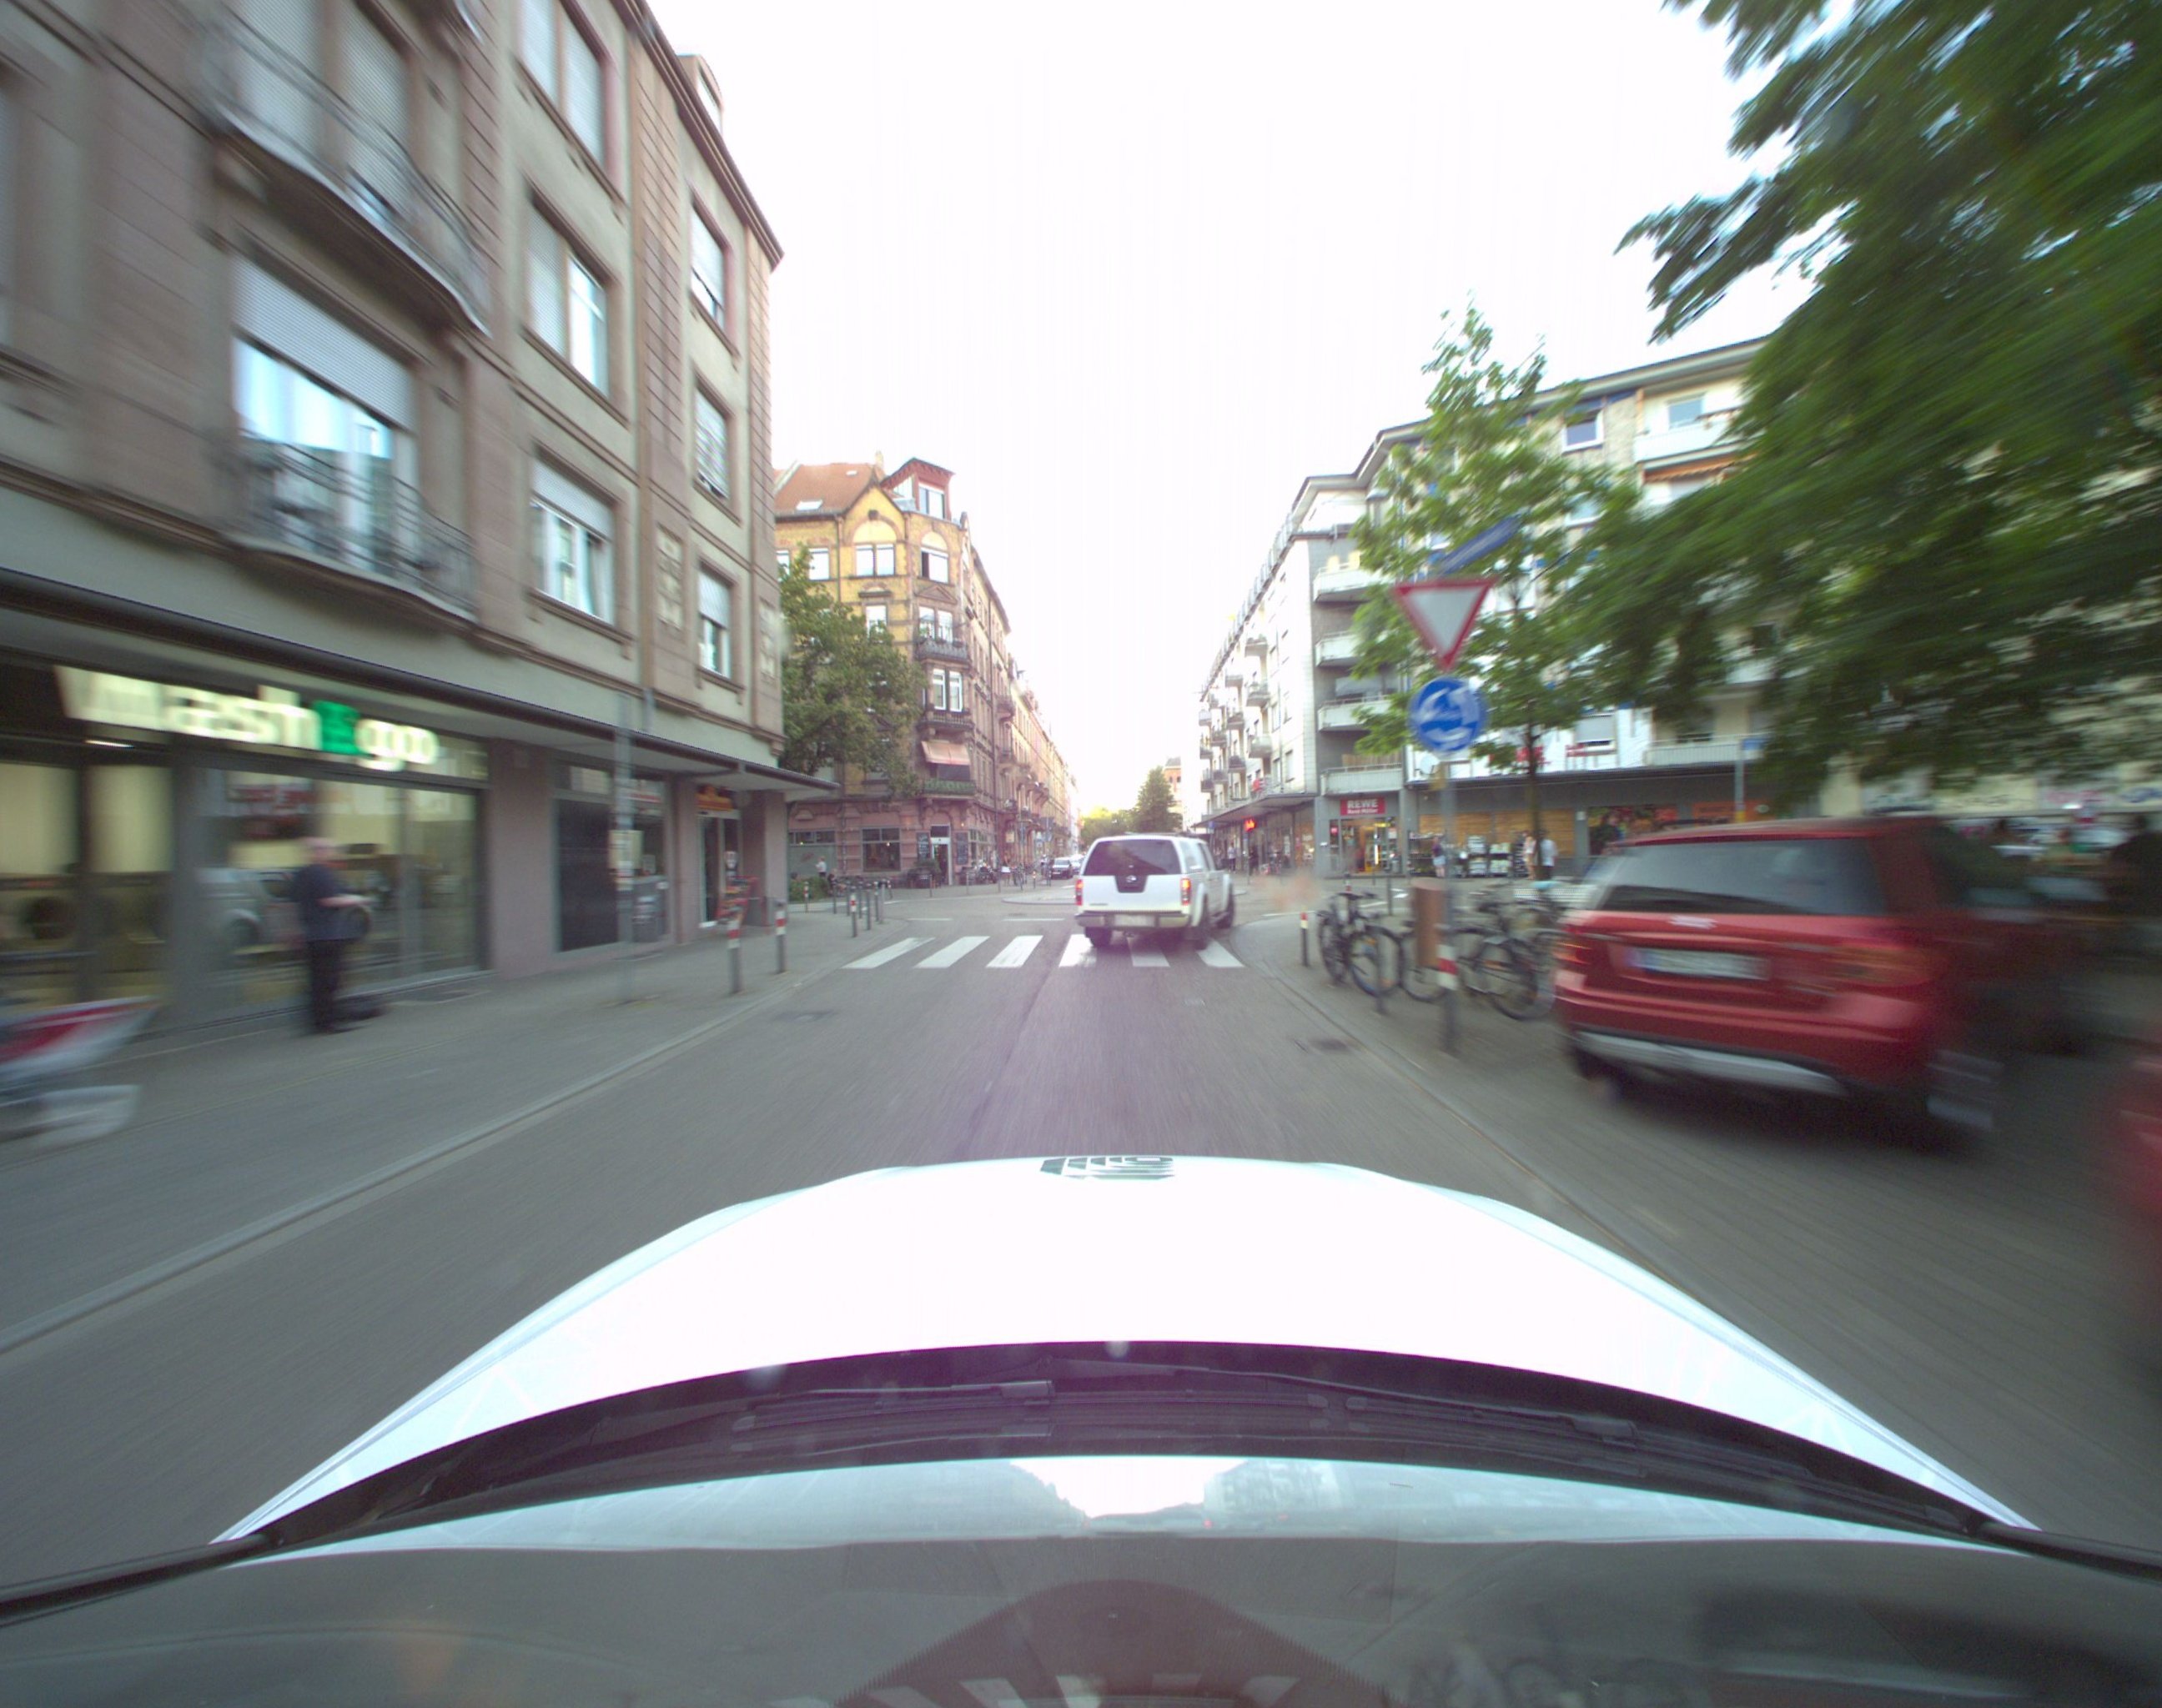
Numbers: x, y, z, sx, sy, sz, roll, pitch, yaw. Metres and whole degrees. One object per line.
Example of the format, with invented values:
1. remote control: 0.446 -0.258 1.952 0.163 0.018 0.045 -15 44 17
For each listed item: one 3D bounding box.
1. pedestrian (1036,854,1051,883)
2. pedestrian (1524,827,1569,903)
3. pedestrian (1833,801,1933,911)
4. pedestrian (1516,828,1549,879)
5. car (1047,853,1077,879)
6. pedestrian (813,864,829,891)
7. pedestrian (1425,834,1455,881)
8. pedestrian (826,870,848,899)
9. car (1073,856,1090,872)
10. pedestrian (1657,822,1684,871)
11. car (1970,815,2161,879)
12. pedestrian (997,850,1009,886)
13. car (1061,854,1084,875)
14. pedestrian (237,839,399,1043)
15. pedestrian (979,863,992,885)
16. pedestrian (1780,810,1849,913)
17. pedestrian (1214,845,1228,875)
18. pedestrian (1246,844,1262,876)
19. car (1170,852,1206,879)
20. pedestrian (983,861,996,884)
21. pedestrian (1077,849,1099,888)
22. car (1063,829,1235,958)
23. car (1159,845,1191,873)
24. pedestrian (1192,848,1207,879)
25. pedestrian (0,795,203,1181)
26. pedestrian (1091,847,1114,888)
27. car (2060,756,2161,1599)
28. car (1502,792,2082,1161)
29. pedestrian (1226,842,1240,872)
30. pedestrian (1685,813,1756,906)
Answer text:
1. pedestrian: -2.116 0.822 45.969 0.795 1.621 0.944 0 -1 0
2. pedestrian: 11.203 0.273 19.643 0.857 1.770 0.954 -1 -1 26
3. pedestrian: 13.693 0.036 13.937 0.832 1.828 0.867 0 -1 -3
4. pedestrian: 15.515 -0.018 27.969 0.722 1.726 0.662 0 -1 -19
5. car: -1.278 0.821 56.368 1.828 1.750 4.001 0 -1 2
6. pedestrian: -12.377 1.125 38.838 0.451 1.262 0.578 -1 -1 27
7. pedestrian: 13.037 0.128 29.566 0.717 1.652 0.710 0 -1 -40
8. pedestrian: -10.714 1.335 35.716 0.751 1.262 0.668 0 -1 1
9. car: 0.093 1.127 92.468 1.828 1.750 4.001 0 -1 2
10. pedestrian: 19.591 -0.233 27.086 0.658 1.601 0.722 -1 -1 32
11. car: 26.392 -0.156 20.871 1.994 1.526 4.528 0 -1 -10
12. pedestrian: -4.076 0.722 42.508 0.505 1.840 0.569 0 -1 -20
13. car: -0.689 0.884 70.420 1.828 1.750 4.164 0 -1 2
14. pedestrian: -6.624 0.721 7.107 0.705 1.678 0.737 0 0 5
15. pedestrian: -5.193 1.063 44.357 0.647 1.191 0.539 0 -1 -2
16. pedestrian: 12.748 0.129 14.175 0.826 1.724 0.874 -1 -1 40
17. pedestrian: 8.080 0.347 47.053 0.717 1.663 0.703 0 -1 2
18. pedestrian: 9.149 0.333 43.145 0.717 1.663 0.703 0 -1 2
19. car: 6.507 0.711 49.837 1.828 1.542 4.001 0 -1 2
20. pedestrian: -5.114 1.029 45.543 0.647 1.286 0.539 0 -1 -2
21. pedestrian: 0.327 0.656 36.912 0.608 1.736 0.912 -1 -1 33
22. car: 1.401 0.517 14.087 1.923 1.810 5.023 -1 1 16
23. car: 6.748 0.358 58.624 1.935 1.934 4.001 0 -1 2
24. pedestrian: 6.475 0.501 44.499 0.717 1.663 0.703 0 -1 2
25. pedestrian: -5.345 0.640 4.178 0.534 1.824 0.998 0 -1 6
26. pedestrian: 1.022 0.624 38.230 0.909 1.885 0.610 0 -1 -29
27. car: 4.336 0.483 2.158 4.244 1.688 1.912 -5 1 -36
28. car: 4.892 0.497 5.481 4.061 1.628 1.677 -4 1 -30
29. pedestrian: 9.569 0.188 51.315 0.717 1.906 0.703 0 -1 2
30. pedestrian: 12.941 0.110 16.503 0.859 1.828 0.840 -1 -1 16
